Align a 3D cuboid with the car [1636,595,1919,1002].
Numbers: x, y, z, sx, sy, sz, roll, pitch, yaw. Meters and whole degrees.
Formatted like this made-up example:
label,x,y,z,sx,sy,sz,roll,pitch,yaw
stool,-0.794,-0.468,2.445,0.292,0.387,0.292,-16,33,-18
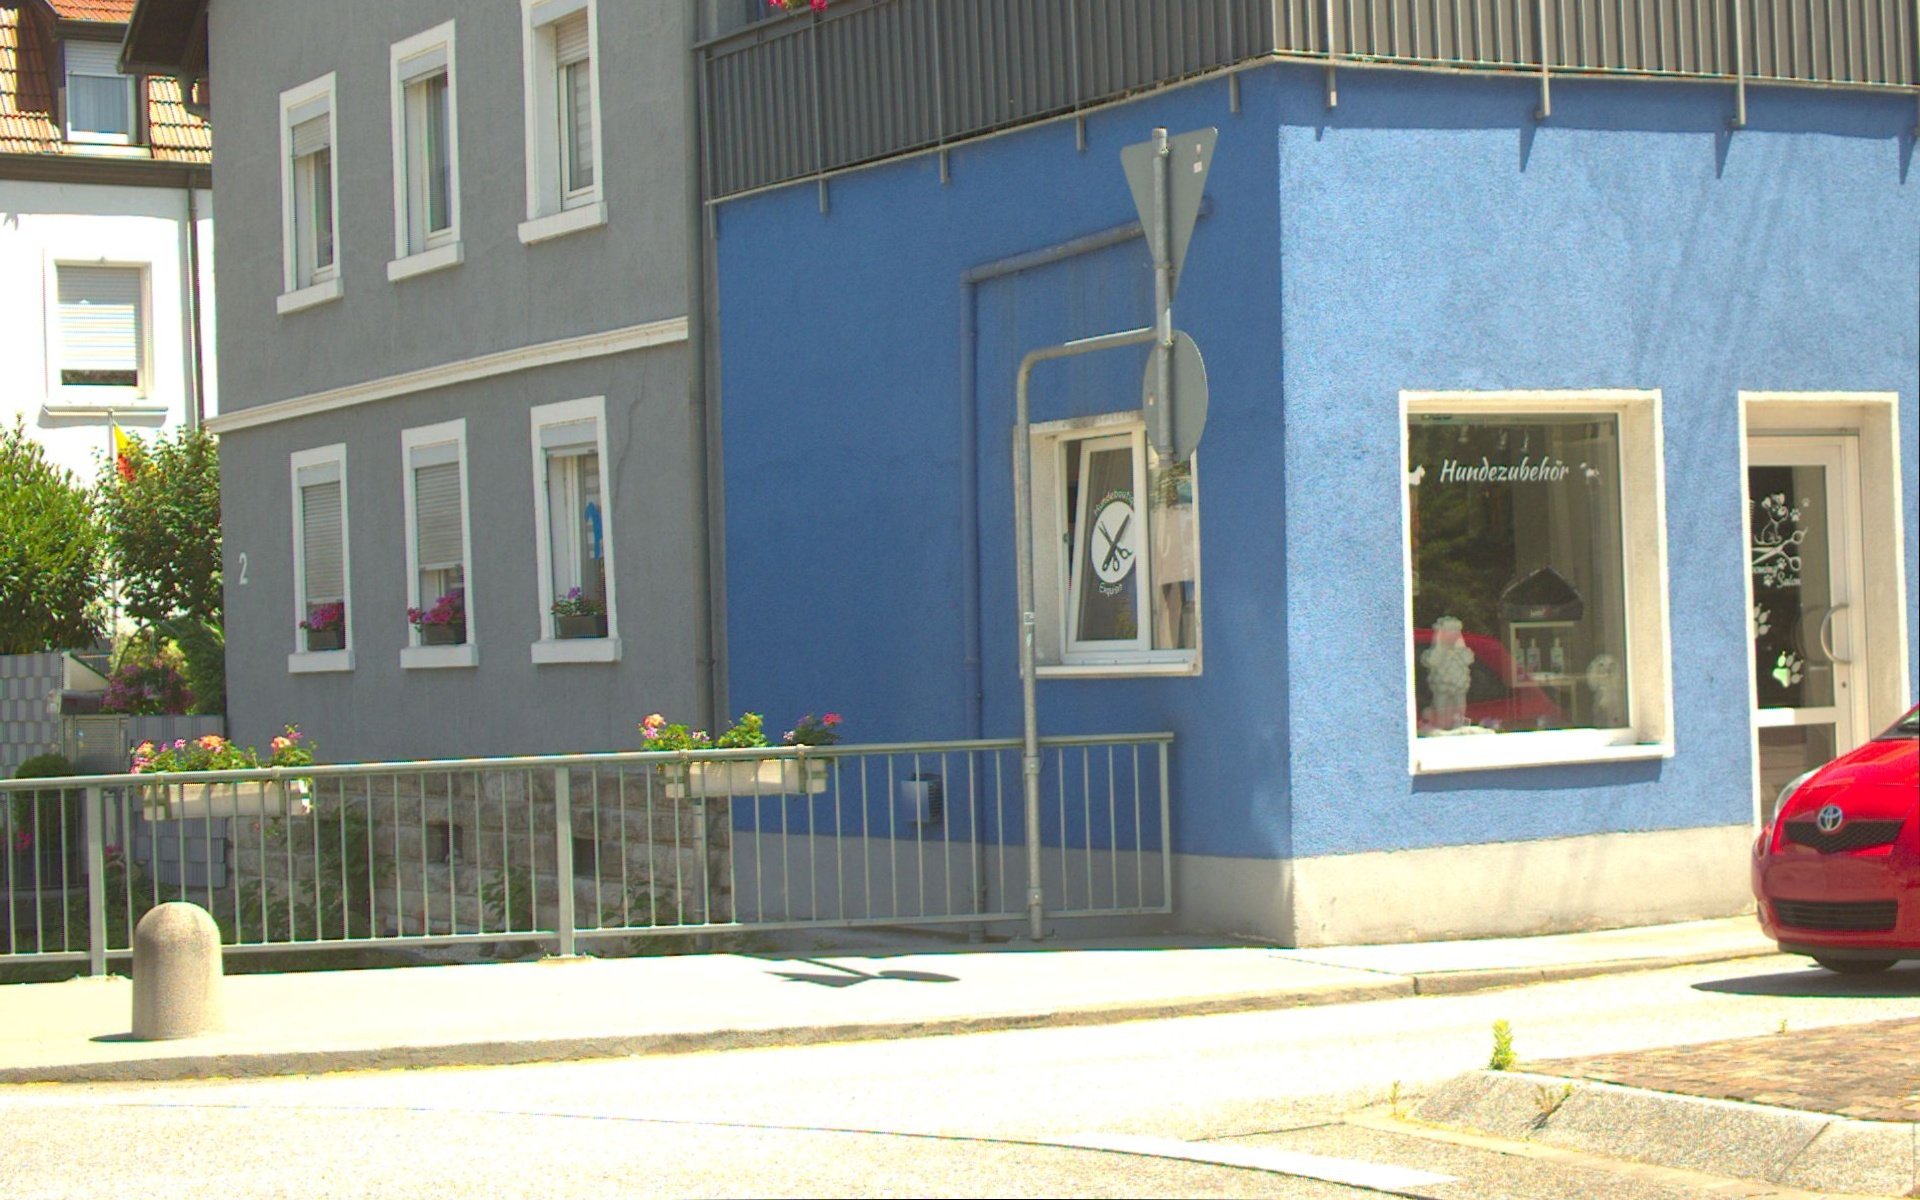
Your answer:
label,x,y,z,sx,sy,sz,roll,pitch,yaw
car,5.089,0.744,14.488,3.986,1.528,1.835,-2,-3,-24
